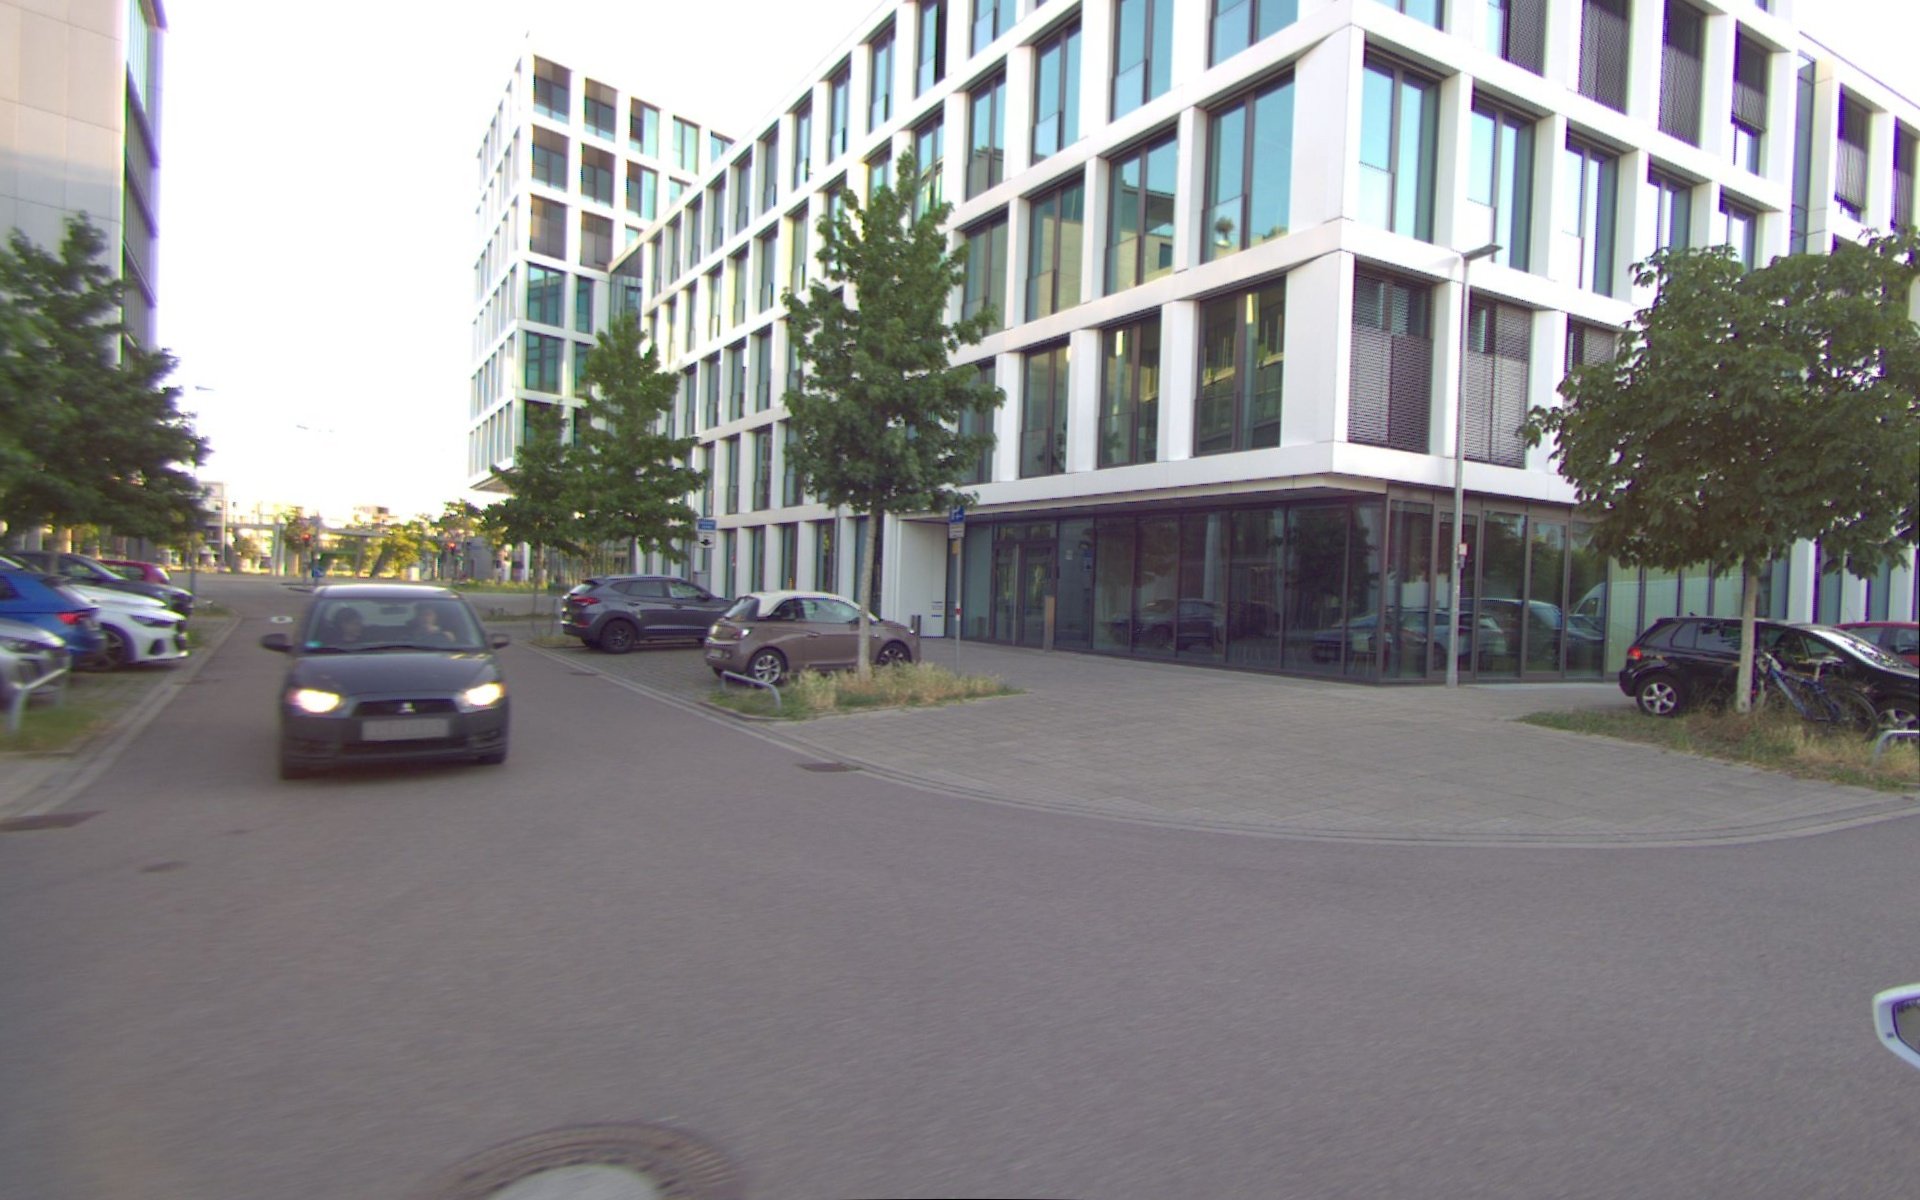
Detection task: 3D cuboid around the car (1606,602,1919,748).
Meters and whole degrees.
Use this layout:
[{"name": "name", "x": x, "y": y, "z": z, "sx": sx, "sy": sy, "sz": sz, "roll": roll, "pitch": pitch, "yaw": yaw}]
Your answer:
[{"name": "car", "x": 11.191, "y": 0.896, "z": 13.233, "sx": 1.823, "sy": 1.539, "sz": 4.087, "roll": 1, "pitch": 2, "yaw": -30}]

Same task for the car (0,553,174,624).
[{"name": "car", "x": -21.515, "y": -0.284, "z": 24.288, "sx": 3.822, "sy": 1.525, "sz": 1.632, "roll": 3, "pitch": 0, "yaw": -37}]

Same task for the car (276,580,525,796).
[{"name": "car", "x": -5.208, "y": 0.615, "z": 9.196, "sx": 1.632, "sy": 1.515, "sz": 3.702, "roll": 1, "pitch": 1, "yaw": -33}]

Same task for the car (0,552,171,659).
[{"name": "car", "x": -15.555, "y": 0.043, "z": 16.370, "sx": 4.098, "sy": 1.650, "sz": 1.632, "roll": 3, "pitch": 0, "yaw": -37}]

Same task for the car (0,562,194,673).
[{"name": "car", "x": -13.705, "y": 0.217, "z": 14.496, "sx": 4.098, "sy": 1.511, "sz": 1.632, "roll": 4, "pitch": 0, "yaw": -37}]

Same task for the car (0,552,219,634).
[{"name": "car", "x": -19.362, "y": -0.142, "z": 22.723, "sx": 4.098, "sy": 1.594, "sz": 1.632, "roll": 4, "pitch": 0, "yaw": -37}]

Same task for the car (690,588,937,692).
[{"name": "car", "x": -2.413, "y": 0.636, "z": 16.796, "sx": 3.686, "sy": 1.516, "sz": 1.714, "roll": 2, "pitch": 1, "yaw": -35}]

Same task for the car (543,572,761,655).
[{"name": "car", "x": -6.834, "y": 0.323, "z": 22.493, "sx": 4.328, "sy": 1.674, "sz": 1.714, "roll": 2, "pitch": 1, "yaw": -35}]

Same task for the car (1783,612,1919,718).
[{"name": "car", "x": 15.818, "y": 1.084, "z": 15.773, "sx": 1.759, "sy": 1.539, "sz": 4.089, "roll": 1, "pitch": 2, "yaw": -29}]

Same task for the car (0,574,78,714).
[{"name": "car", "x": -11.496, "y": 0.370, "z": 10.068, "sx": 3.783, "sy": 1.404, "sz": 1.632, "roll": 4, "pitch": 0, "yaw": -37}]

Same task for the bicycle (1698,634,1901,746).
[{"name": "bicycle", "x": 9.716, "y": 1.002, "z": 11.699, "sx": 0.559, "sy": 1.080, "sz": 1.688, "roll": 1, "pitch": 2, "yaw": -28}]

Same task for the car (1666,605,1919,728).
[{"name": "car", "x": 13.339, "y": 0.951, "z": 15.061, "sx": 1.823, "sy": 1.539, "sz": 4.089, "roll": 1, "pitch": 2, "yaw": -29}]

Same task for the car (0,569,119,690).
[{"name": "car", "x": -12.834, "y": 0.293, "z": 12.178, "sx": 3.868, "sy": 1.447, "sz": 1.545, "roll": 4, "pitch": 0, "yaw": -37}]
